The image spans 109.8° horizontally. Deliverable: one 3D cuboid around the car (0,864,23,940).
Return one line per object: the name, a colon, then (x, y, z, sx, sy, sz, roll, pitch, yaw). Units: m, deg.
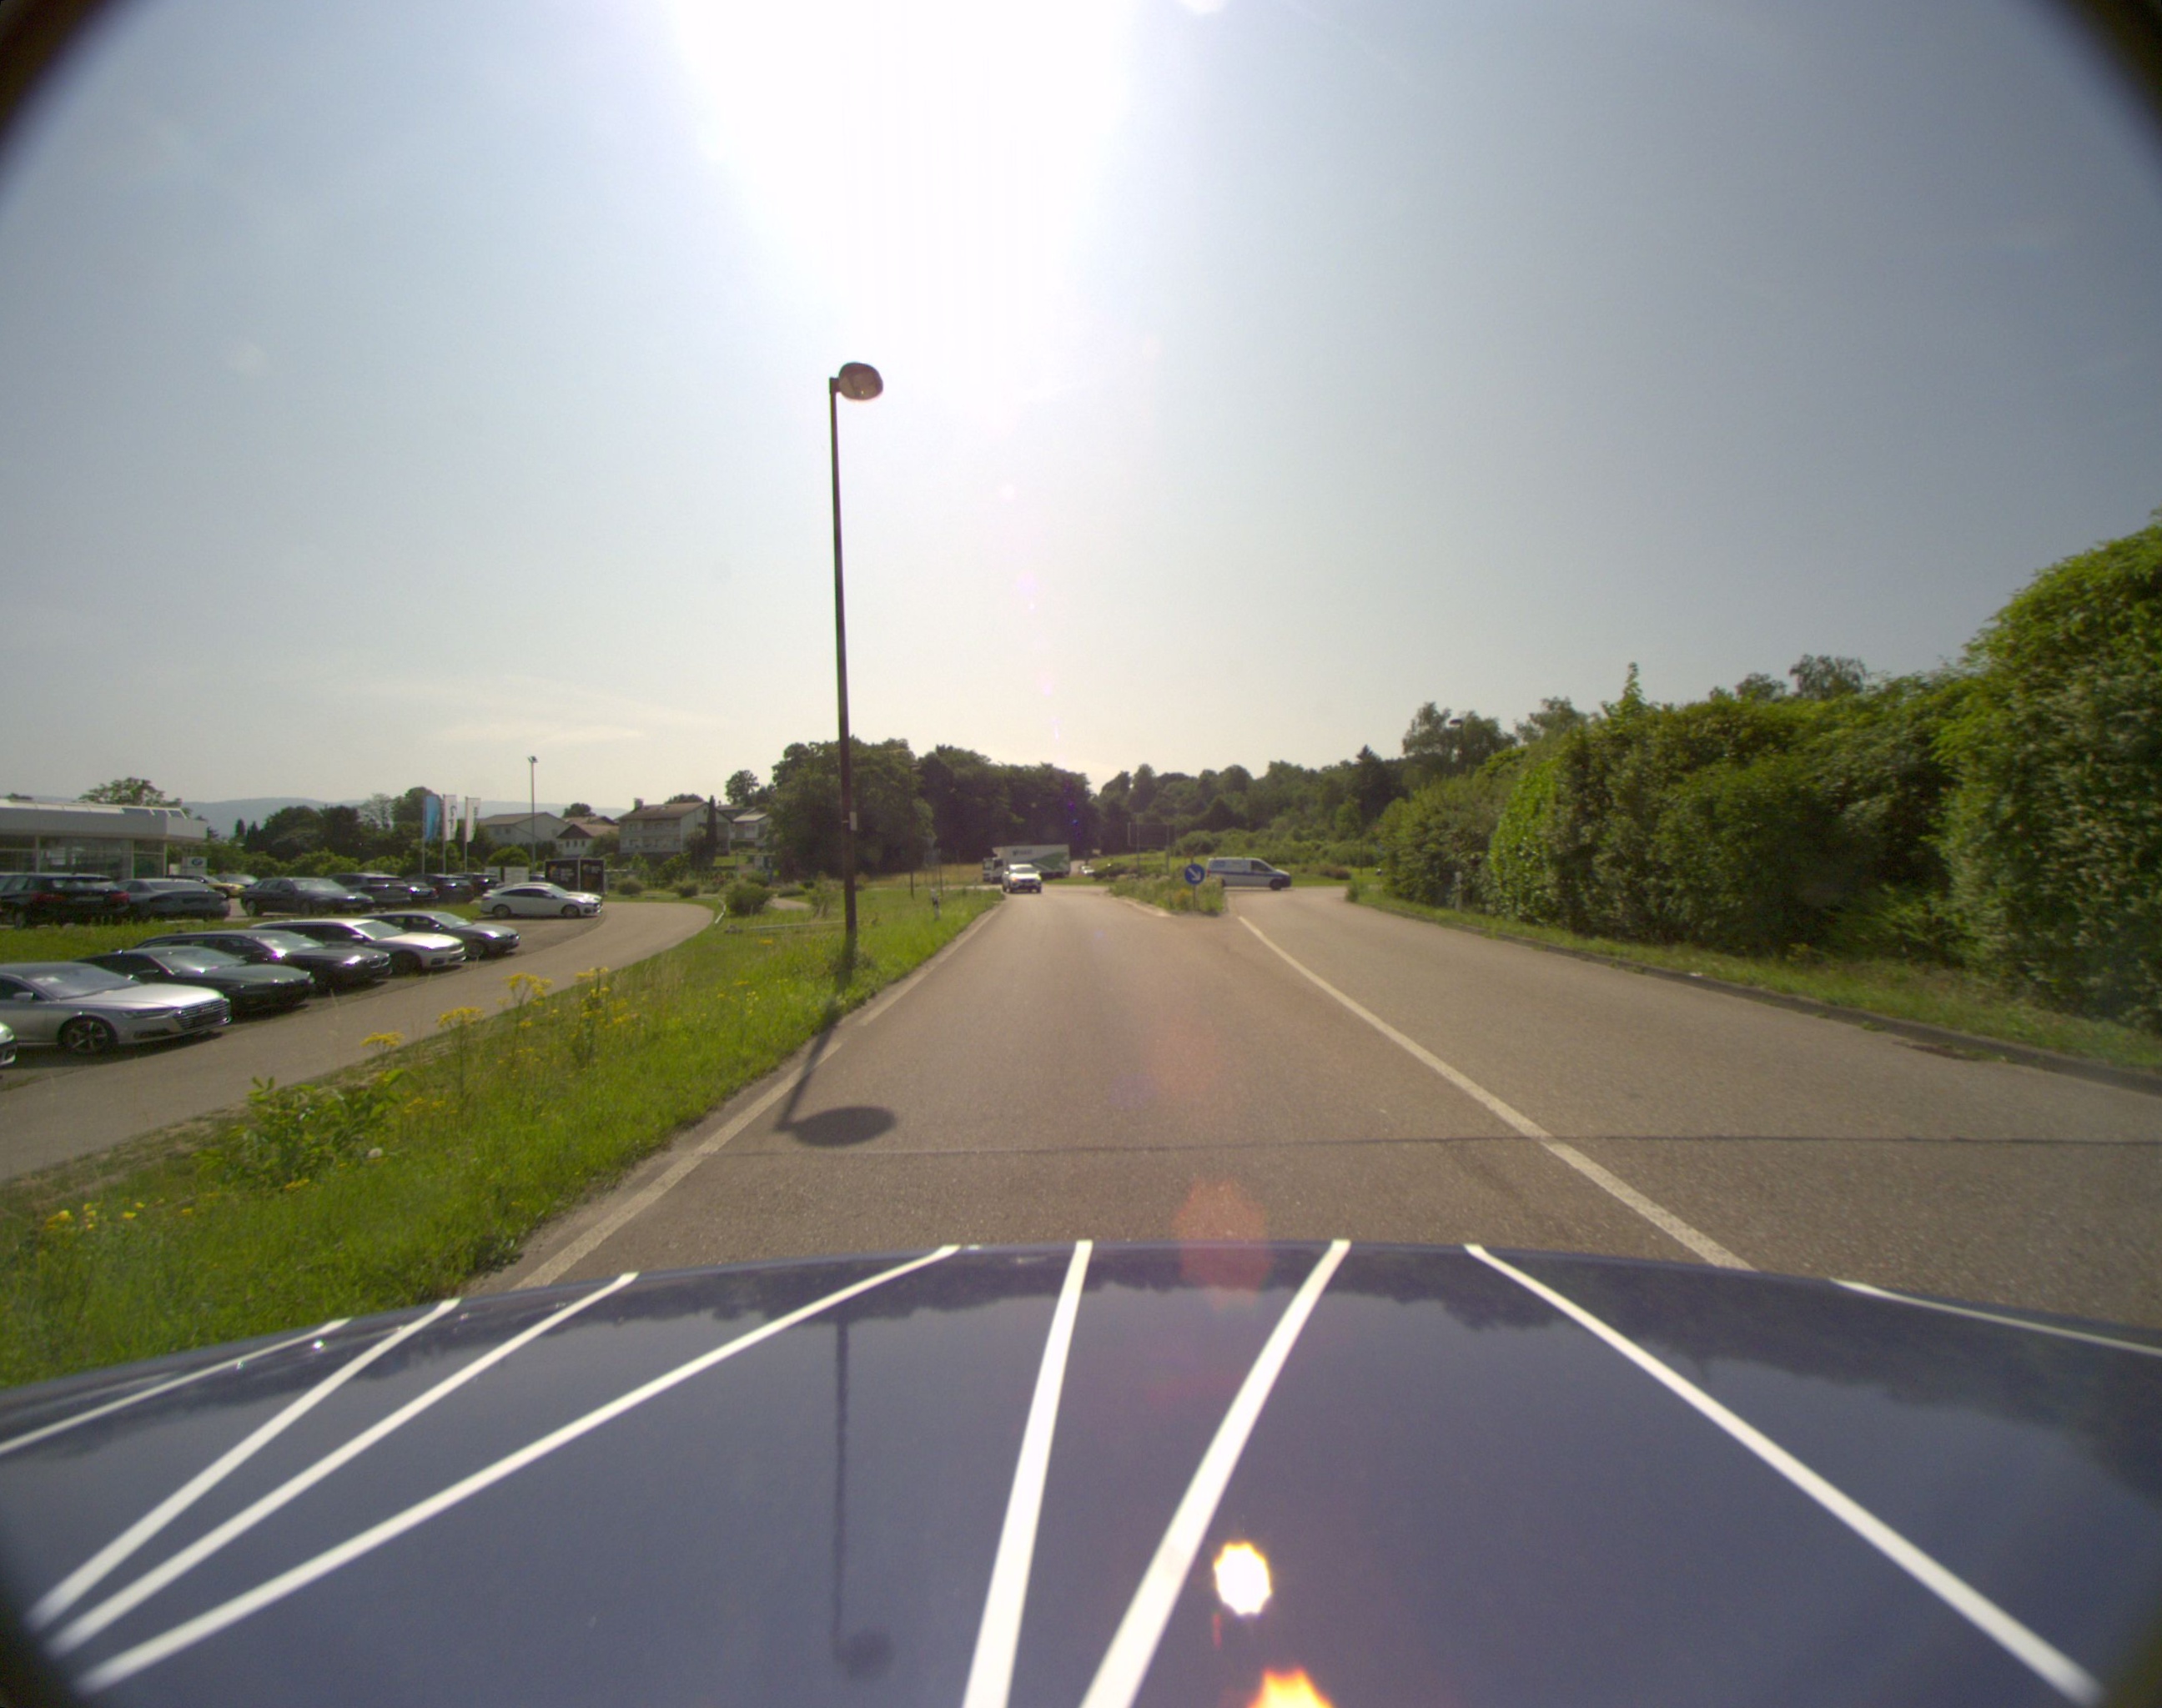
car: (-27.272, 1.131, 17.452, 4.459, 1.736, 1.952, -1, -1, 14)

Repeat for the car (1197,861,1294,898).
car: (9.560, 1.483, 44.200, 5.219, 1.926, 1.863, -2, 0, 20)

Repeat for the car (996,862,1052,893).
car: (-3.465, 1.365, 45.307, 2.199, 1.642, 5.115, -2, -1, -17)

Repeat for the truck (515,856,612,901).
truck: (-31.587, 1.479, 46.333, 5.614, 2.649, 1.953, -1, -1, 20)

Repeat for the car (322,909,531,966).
car: (-20.181, 2.534, 23.676, 4.577, 1.413, 1.780, 0, 2, -19)

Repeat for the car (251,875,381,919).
car: (-28.654, 1.582, 28.481, 4.000, 1.517, 1.953, -1, -1, 20)

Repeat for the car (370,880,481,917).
car: (-32.198, 2.155, 37.348, 4.417, 1.491, 1.952, 1, 1, 14)

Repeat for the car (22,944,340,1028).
car: (-19.117, 2.789, 16.338, 4.261, 1.405, 1.921, 1, 2, -5)

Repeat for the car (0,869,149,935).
car: (-28.126, 1.251, 20.566, 4.459, 1.625, 1.952, -1, -1, 14)

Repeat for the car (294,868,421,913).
car: (-30.051, 1.478, 31.590, 4.001, 1.740, 1.952, 0, -1, 14)

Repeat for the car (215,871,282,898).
car: (-56.683, 2.057, 51.752, 3.690, 1.644, 1.584, -2, 0, 17)

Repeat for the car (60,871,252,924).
car: (-27.921, 1.294, 22.973, 4.459, 1.491, 1.952, -1, -1, 14)

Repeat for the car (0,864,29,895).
car: (-56.559, 1.329, 39.032, 4.032, 1.576, 1.913, -1, -1, 20)

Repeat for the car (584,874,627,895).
car: (-36.194, 2.315, 57.781, 1.914, 1.503, 4.363, 0, -1, -43)

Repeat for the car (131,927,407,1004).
car: (-19.746, 2.667, 18.733, 4.264, 1.474, 1.920, 1, 2, -14)

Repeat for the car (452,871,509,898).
car: (-39.364, 1.961, 49.808, 3.808, 1.670, 1.914, -1, -1, 35)

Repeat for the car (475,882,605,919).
car: (-24.891, 2.117, 35.170, 4.582, 1.561, 1.765, 0, 0, -20)

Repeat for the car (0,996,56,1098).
car: (-18.915, 3.068, 11.356, 4.260, 1.457, 1.872, 0, 2, -5)

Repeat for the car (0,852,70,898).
car: (-38.726, 0.745, 26.238, 4.277, 1.576, 1.654, 0, -1, -37)

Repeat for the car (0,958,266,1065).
car: (-18.329, 2.808, 13.810, 4.437, 1.457, 1.920, 1, 2, -13)

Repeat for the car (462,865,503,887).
car: (-43.536, 1.588, 55.231, 1.914, 1.503, 4.363, 0, -1, -43)

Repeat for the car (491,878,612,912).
car: (-26.174, 2.047, 37.779, 4.672, 1.561, 1.765, 2, -2, -25)

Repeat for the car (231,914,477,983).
car: (-19.983, 2.568, 21.133, 4.575, 1.557, 1.920, 1, 2, -14)

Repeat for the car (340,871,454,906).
car: (-31.368, 1.564, 34.889, 4.001, 1.490, 1.952, 1, -2, 14)

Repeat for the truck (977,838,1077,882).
truck: (-5.121, 0.519, 72.919, 9.037, 3.806, 2.893, -2, 0, -31)
